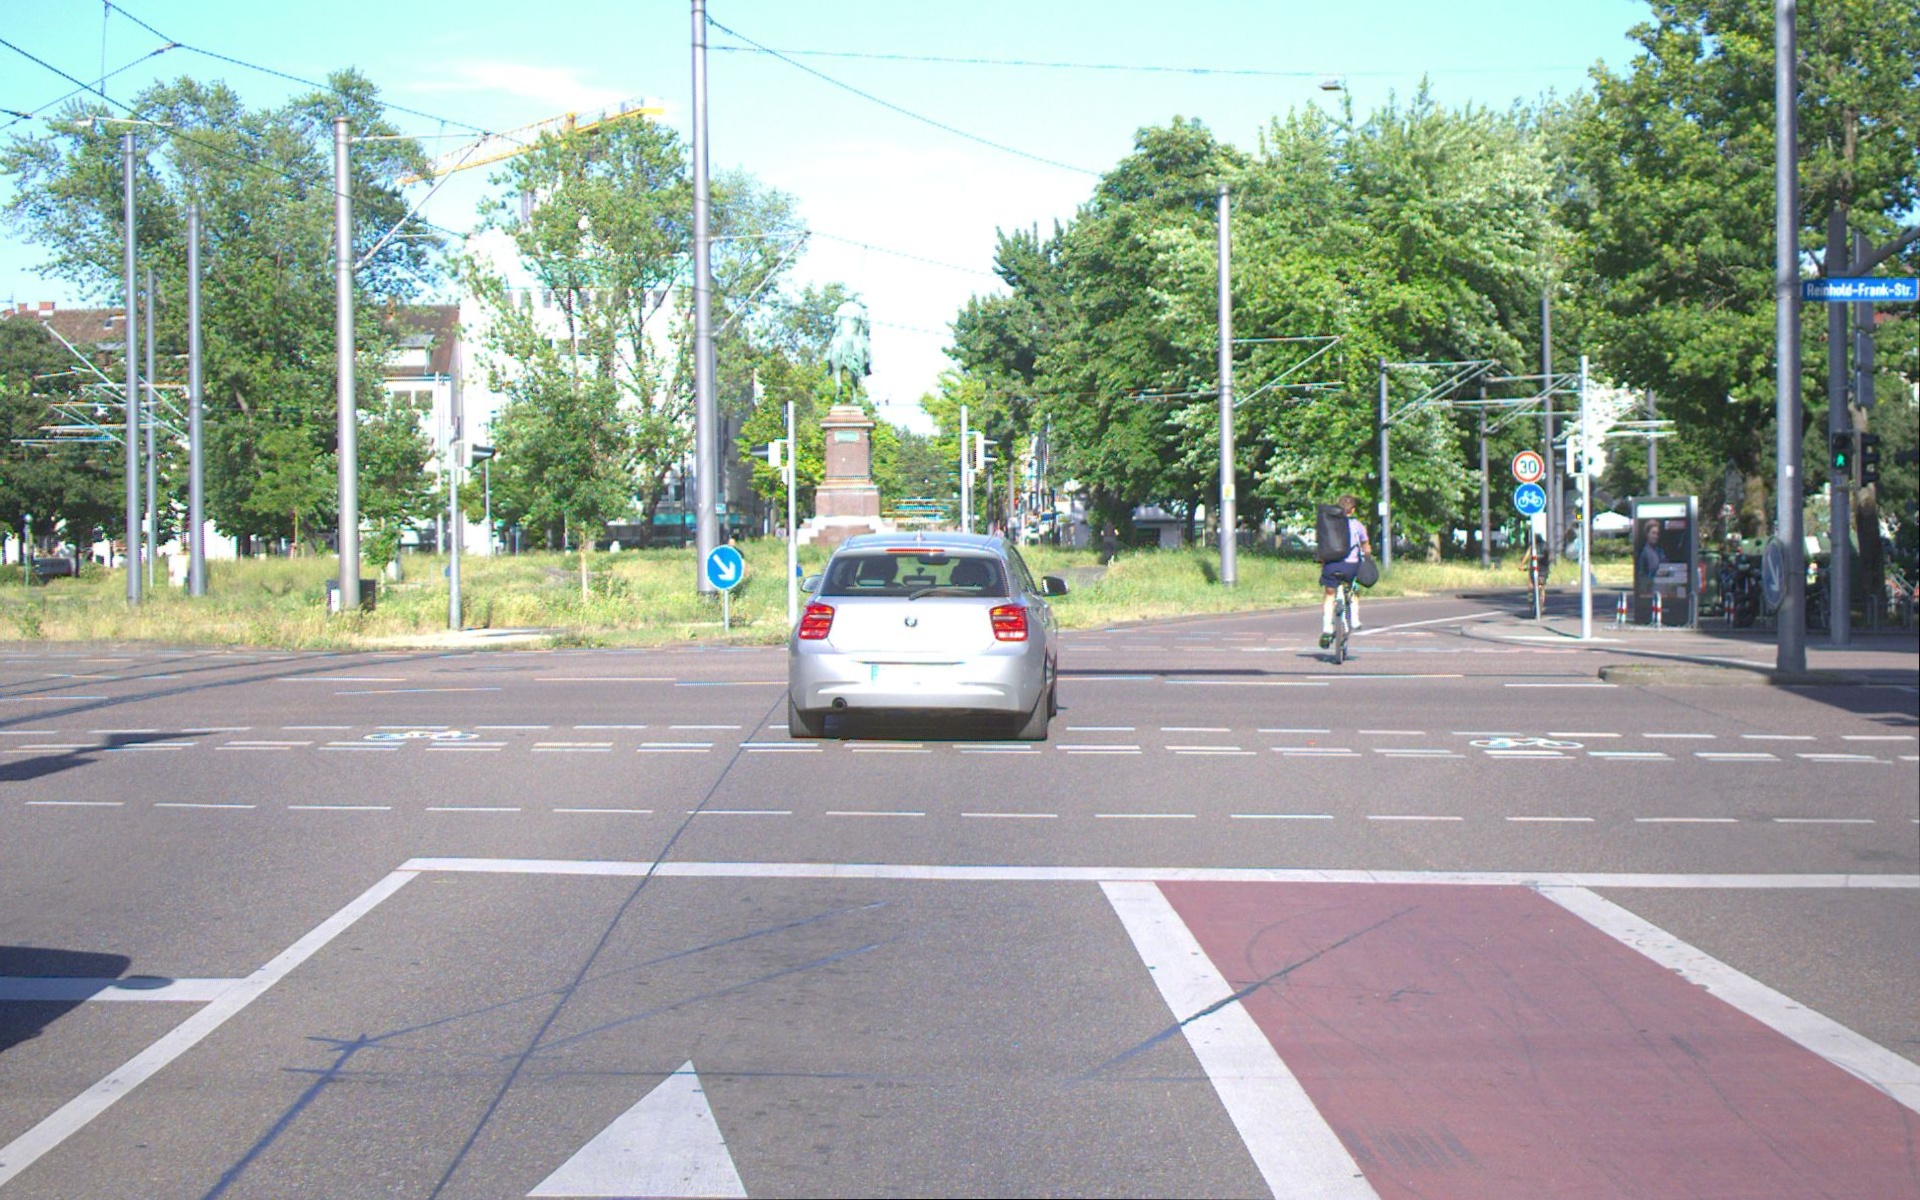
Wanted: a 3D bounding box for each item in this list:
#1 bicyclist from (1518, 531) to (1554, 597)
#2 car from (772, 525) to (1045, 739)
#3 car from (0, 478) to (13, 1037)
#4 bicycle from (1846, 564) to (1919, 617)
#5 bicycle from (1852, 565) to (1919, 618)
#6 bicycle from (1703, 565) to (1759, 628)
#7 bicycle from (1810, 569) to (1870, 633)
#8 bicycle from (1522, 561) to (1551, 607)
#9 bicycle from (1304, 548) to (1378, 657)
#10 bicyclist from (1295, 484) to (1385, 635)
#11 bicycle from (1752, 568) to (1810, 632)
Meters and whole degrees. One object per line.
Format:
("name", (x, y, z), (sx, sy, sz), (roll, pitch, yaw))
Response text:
("bicyclist", (12.193, -0.758, 72.747), (0.616, 1.375, 0.686), (1, 1, 1))
("car", (-0.338, 0.172, 24.700), (1.798, 1.410, 4.000), (0, 1, 0))
("car", (-3.610, 0.497, 8.071), (1.704, 1.616, 4.000), (0, 1, -1))
("bicycle", (19.612, -0.187, 71.297), (2.320, 1.064, 0.555), (2, 1, 22))
("bicycle", (19.879, -0.168, 71.874), (2.320, 1.064, 0.555), (2, 1, 22))
("bicycle", (12.813, -0.069, 57.170), (0.417, 1.005, 1.945), (1, 1, -1))
("bicycle", (14.527, 0.010, 56.785), (0.417, 1.005, 1.945), (1, 1, -1))
("bicycle", (12.210, -0.347, 72.845), (0.352, 0.955, 1.573), (1, 1, 1))
("bicycle", (3.949, 0.010, 35.706), (0.499, 1.085, 1.997), (1, 1, -1))
("bicyclist", (3.942, -0.419, 35.679), (0.785, 1.526, 0.895), (1, 1, -1))
("bicycle", (13.548, -0.009, 56.781), (0.417, 1.005, 1.945), (1, 1, -1))
